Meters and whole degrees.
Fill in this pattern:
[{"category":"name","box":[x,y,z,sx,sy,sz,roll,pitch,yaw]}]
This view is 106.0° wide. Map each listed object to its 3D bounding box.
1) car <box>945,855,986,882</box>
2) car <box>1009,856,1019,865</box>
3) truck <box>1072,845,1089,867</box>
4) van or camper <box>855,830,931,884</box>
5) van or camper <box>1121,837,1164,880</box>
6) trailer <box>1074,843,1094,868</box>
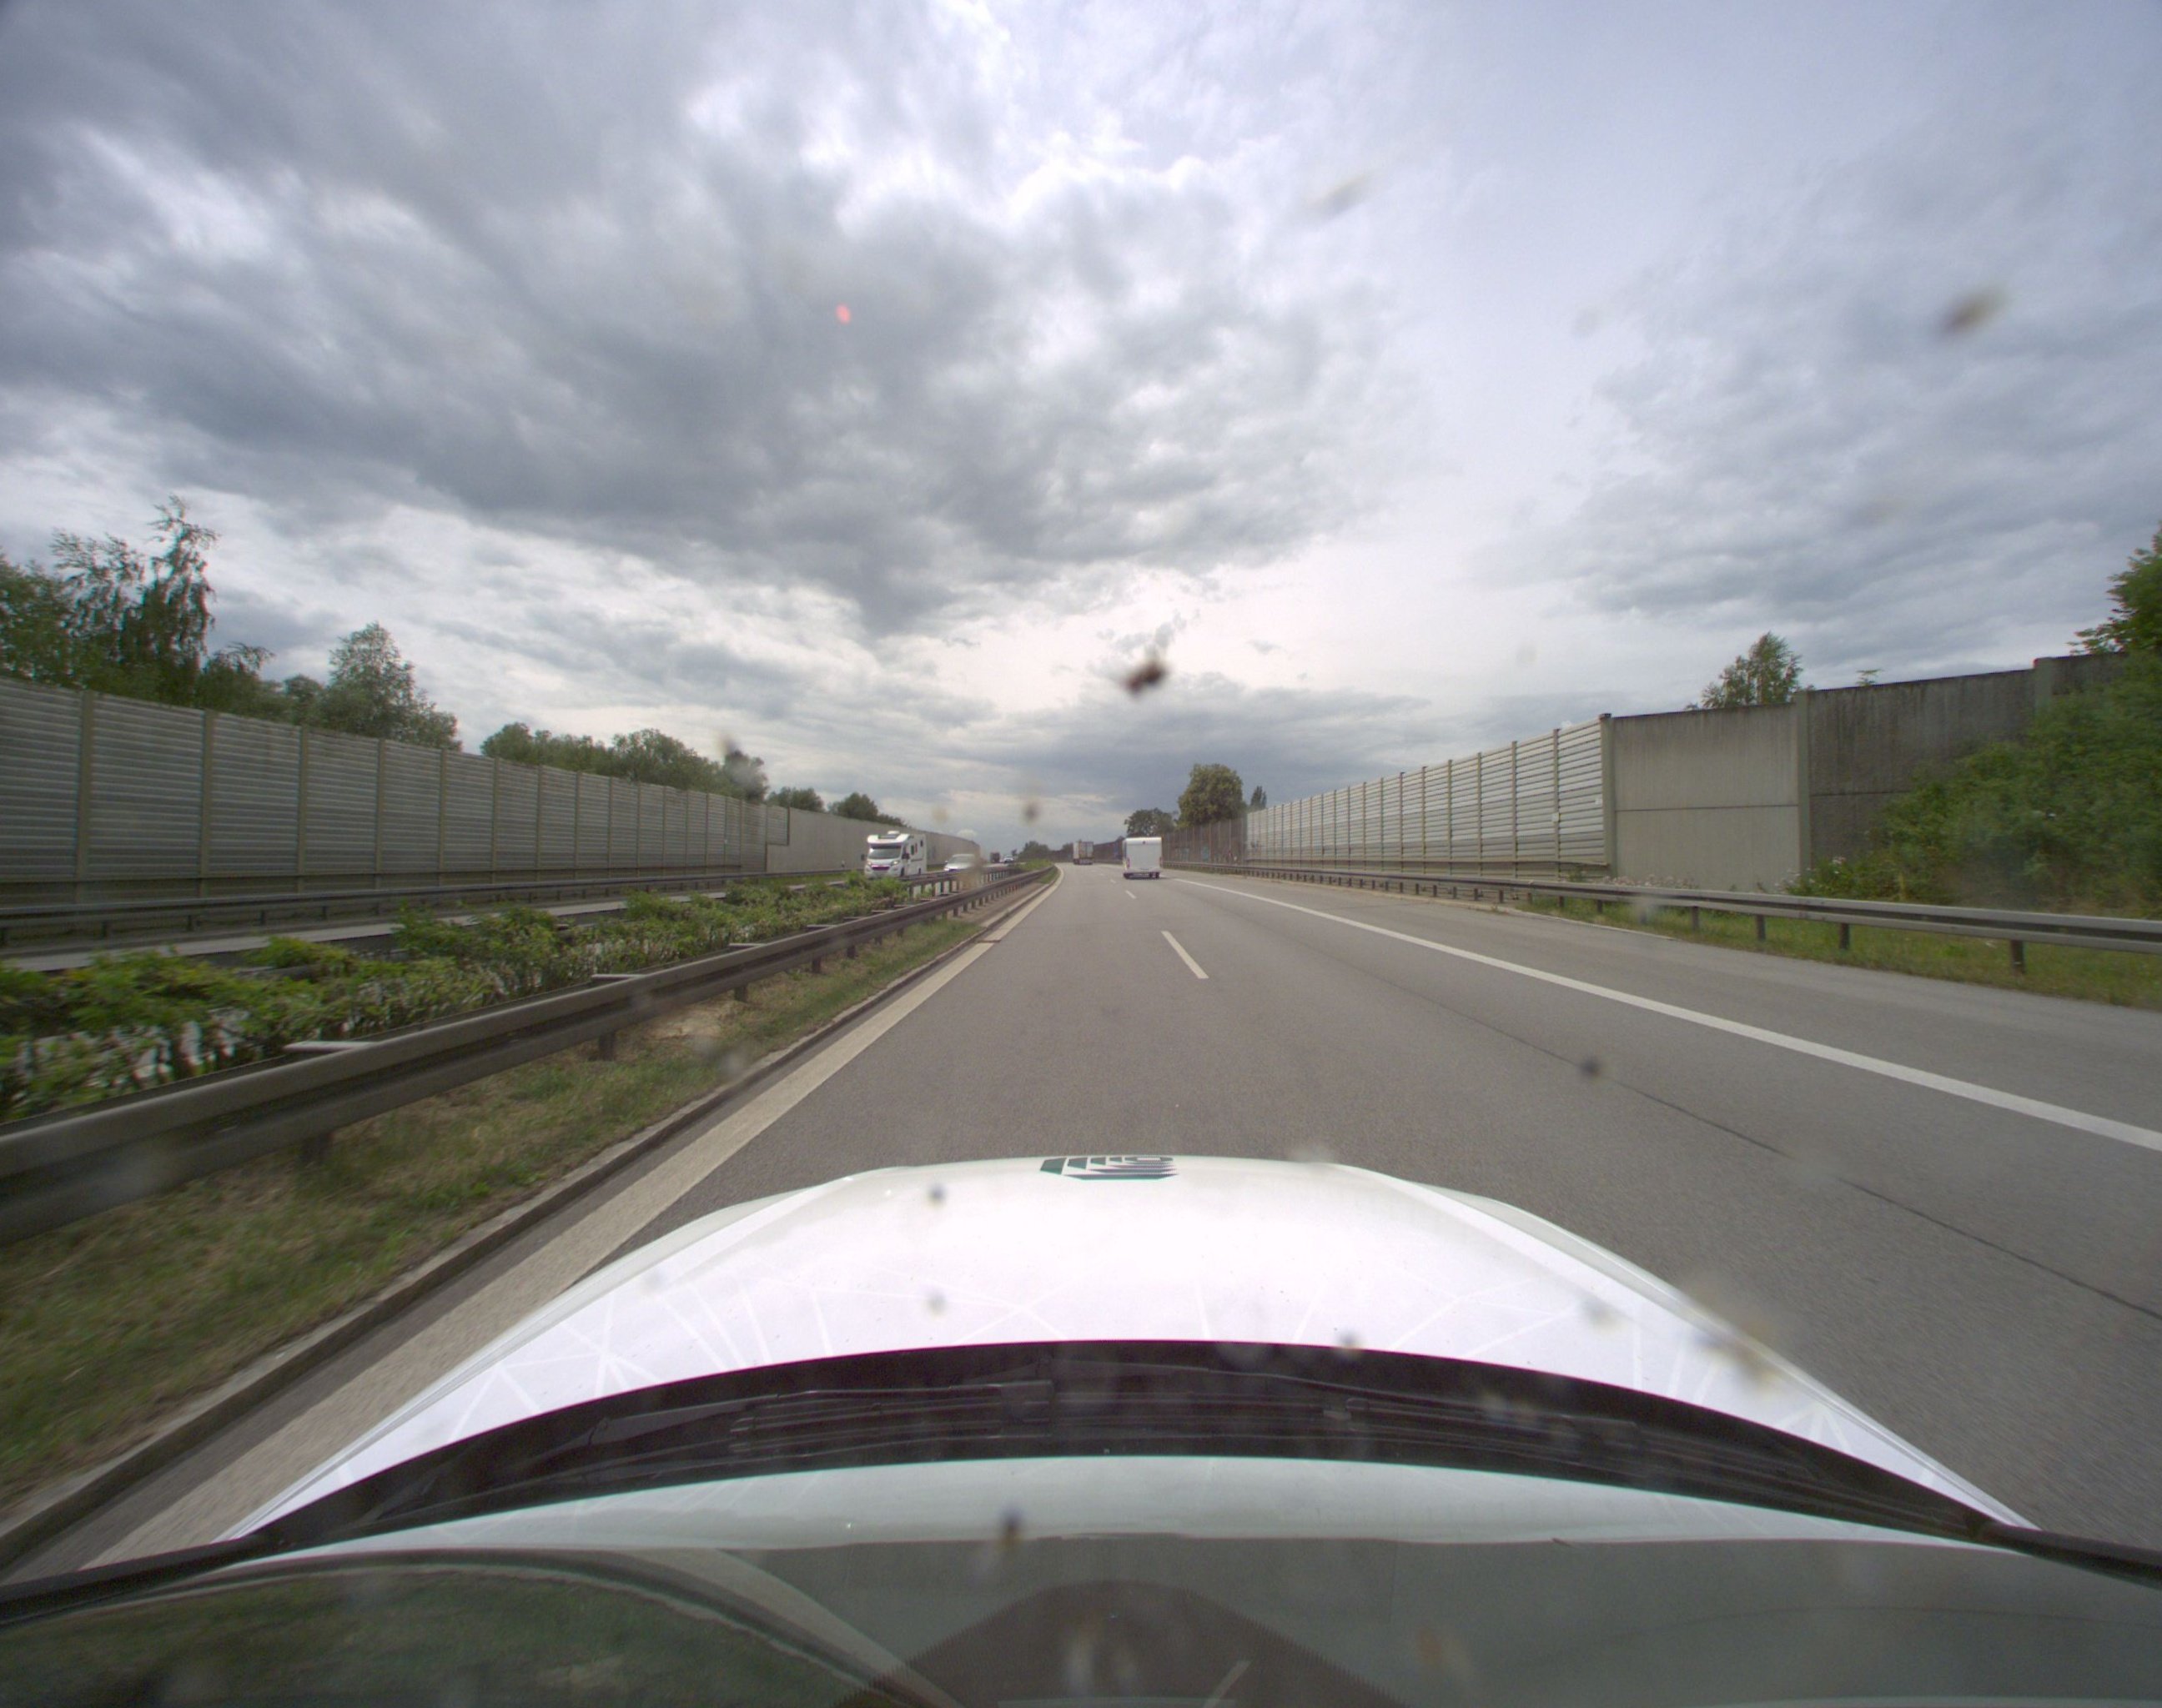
[{"category":"car","box":[-6.575,0.815,46.720,1.687,1.420,4.645,-2,0,-1]},{"category":"car","box":[-13.358,1.255,162.035,1.737,1.744,4.623,-2,0,-2]},{"category":"truck","box":[-0.069,0.376,154.070,2.750,3.960,5.669,-1,-1,-3]},{"category":"van or camper","box":[-10.792,0.189,47.552,2.457,2.869,7.769,-1,0,1]},{"category":"van or camper","box":[4.056,0.299,54.685,2.421,2.697,7.225,-1,-1,1]},{"category":"trailer","box":[0.412,0.294,147.445,2.786,4.175,14.085,-1,-1,-3]}]
